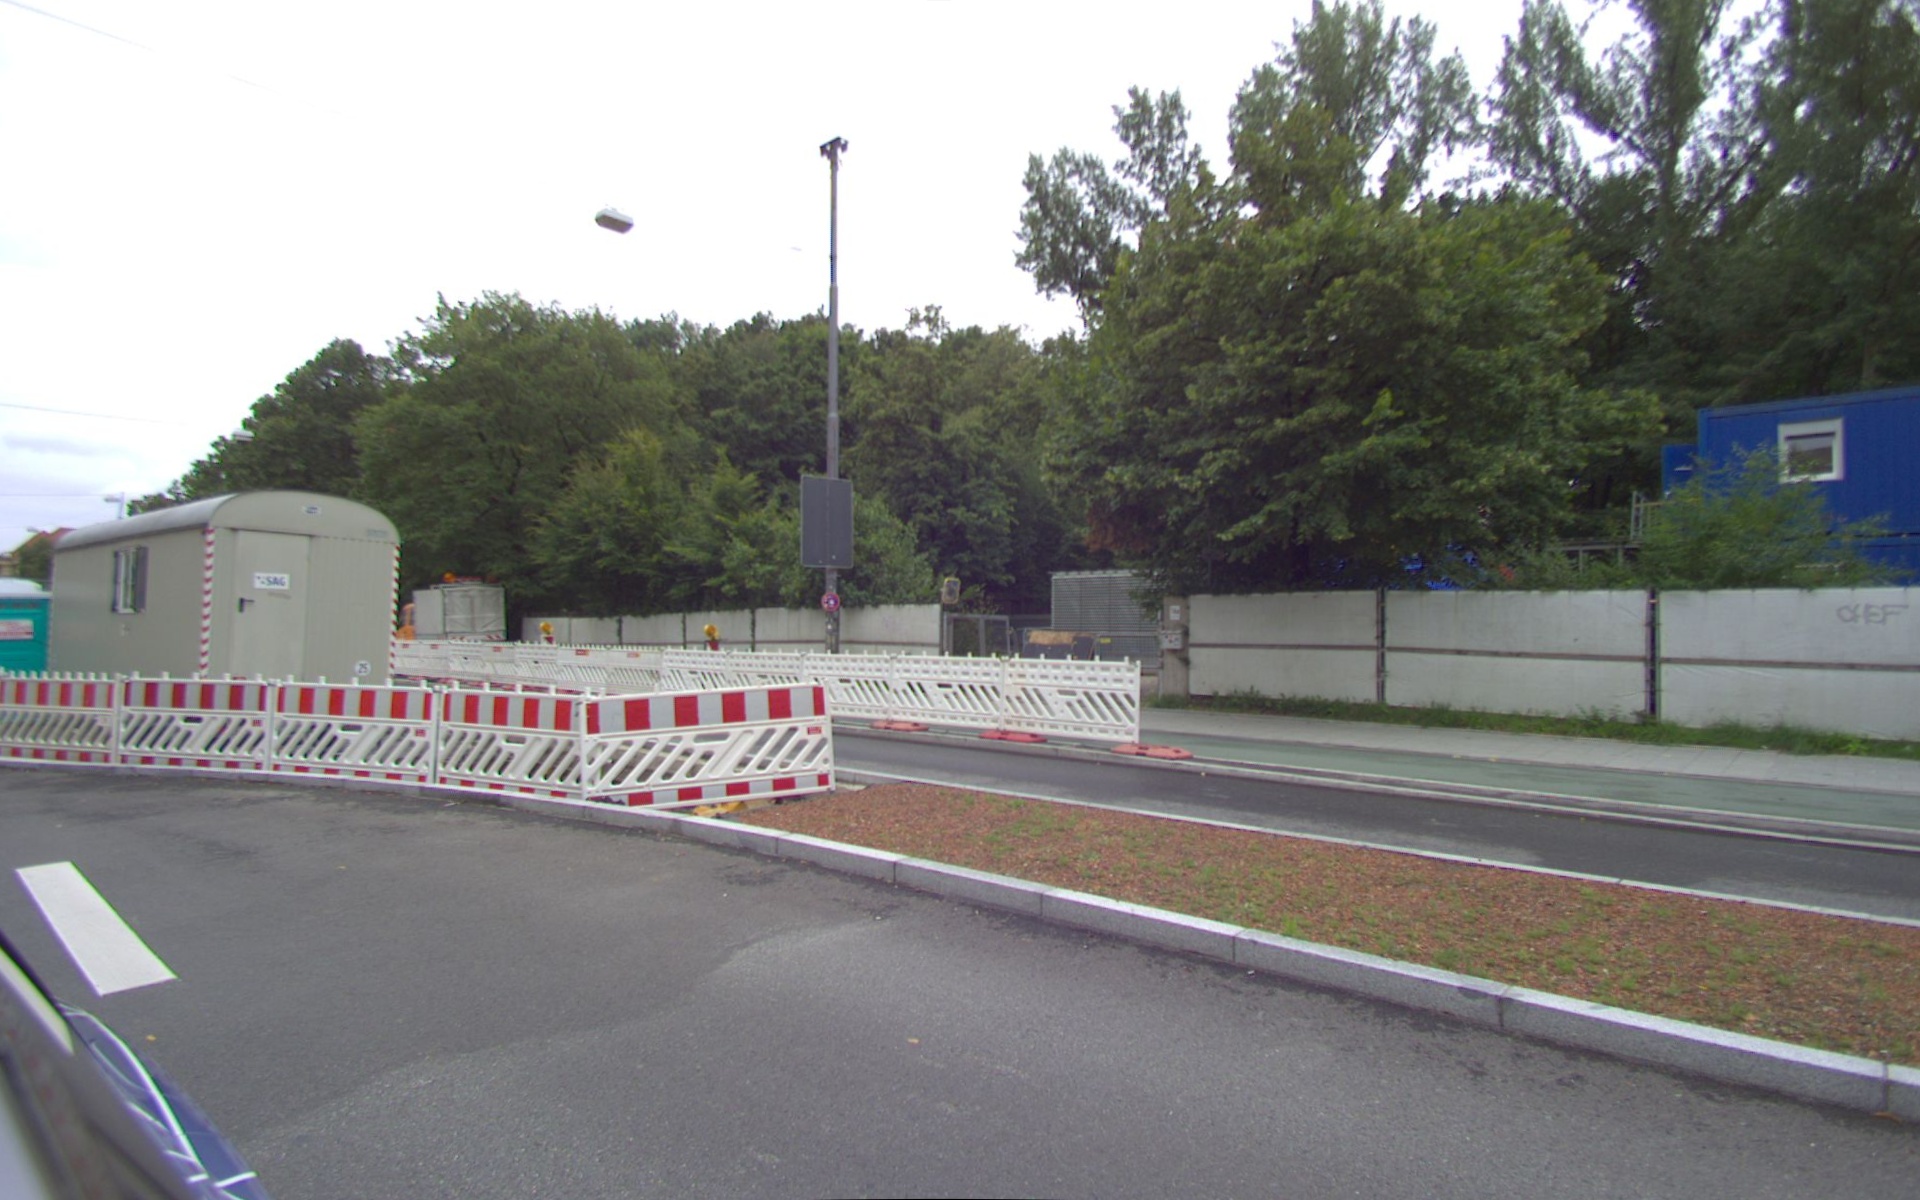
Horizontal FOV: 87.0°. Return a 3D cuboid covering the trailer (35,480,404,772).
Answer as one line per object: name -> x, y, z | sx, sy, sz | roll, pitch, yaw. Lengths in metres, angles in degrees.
trailer -> -10.876, 0.398, 14.526 | 7.507, 3.268, 2.206 | -2, -2, 37

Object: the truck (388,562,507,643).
truck -> -18.773, 0.177, 36.918 | 5.869, 2.749, 1.972 | -2, -2, 43
